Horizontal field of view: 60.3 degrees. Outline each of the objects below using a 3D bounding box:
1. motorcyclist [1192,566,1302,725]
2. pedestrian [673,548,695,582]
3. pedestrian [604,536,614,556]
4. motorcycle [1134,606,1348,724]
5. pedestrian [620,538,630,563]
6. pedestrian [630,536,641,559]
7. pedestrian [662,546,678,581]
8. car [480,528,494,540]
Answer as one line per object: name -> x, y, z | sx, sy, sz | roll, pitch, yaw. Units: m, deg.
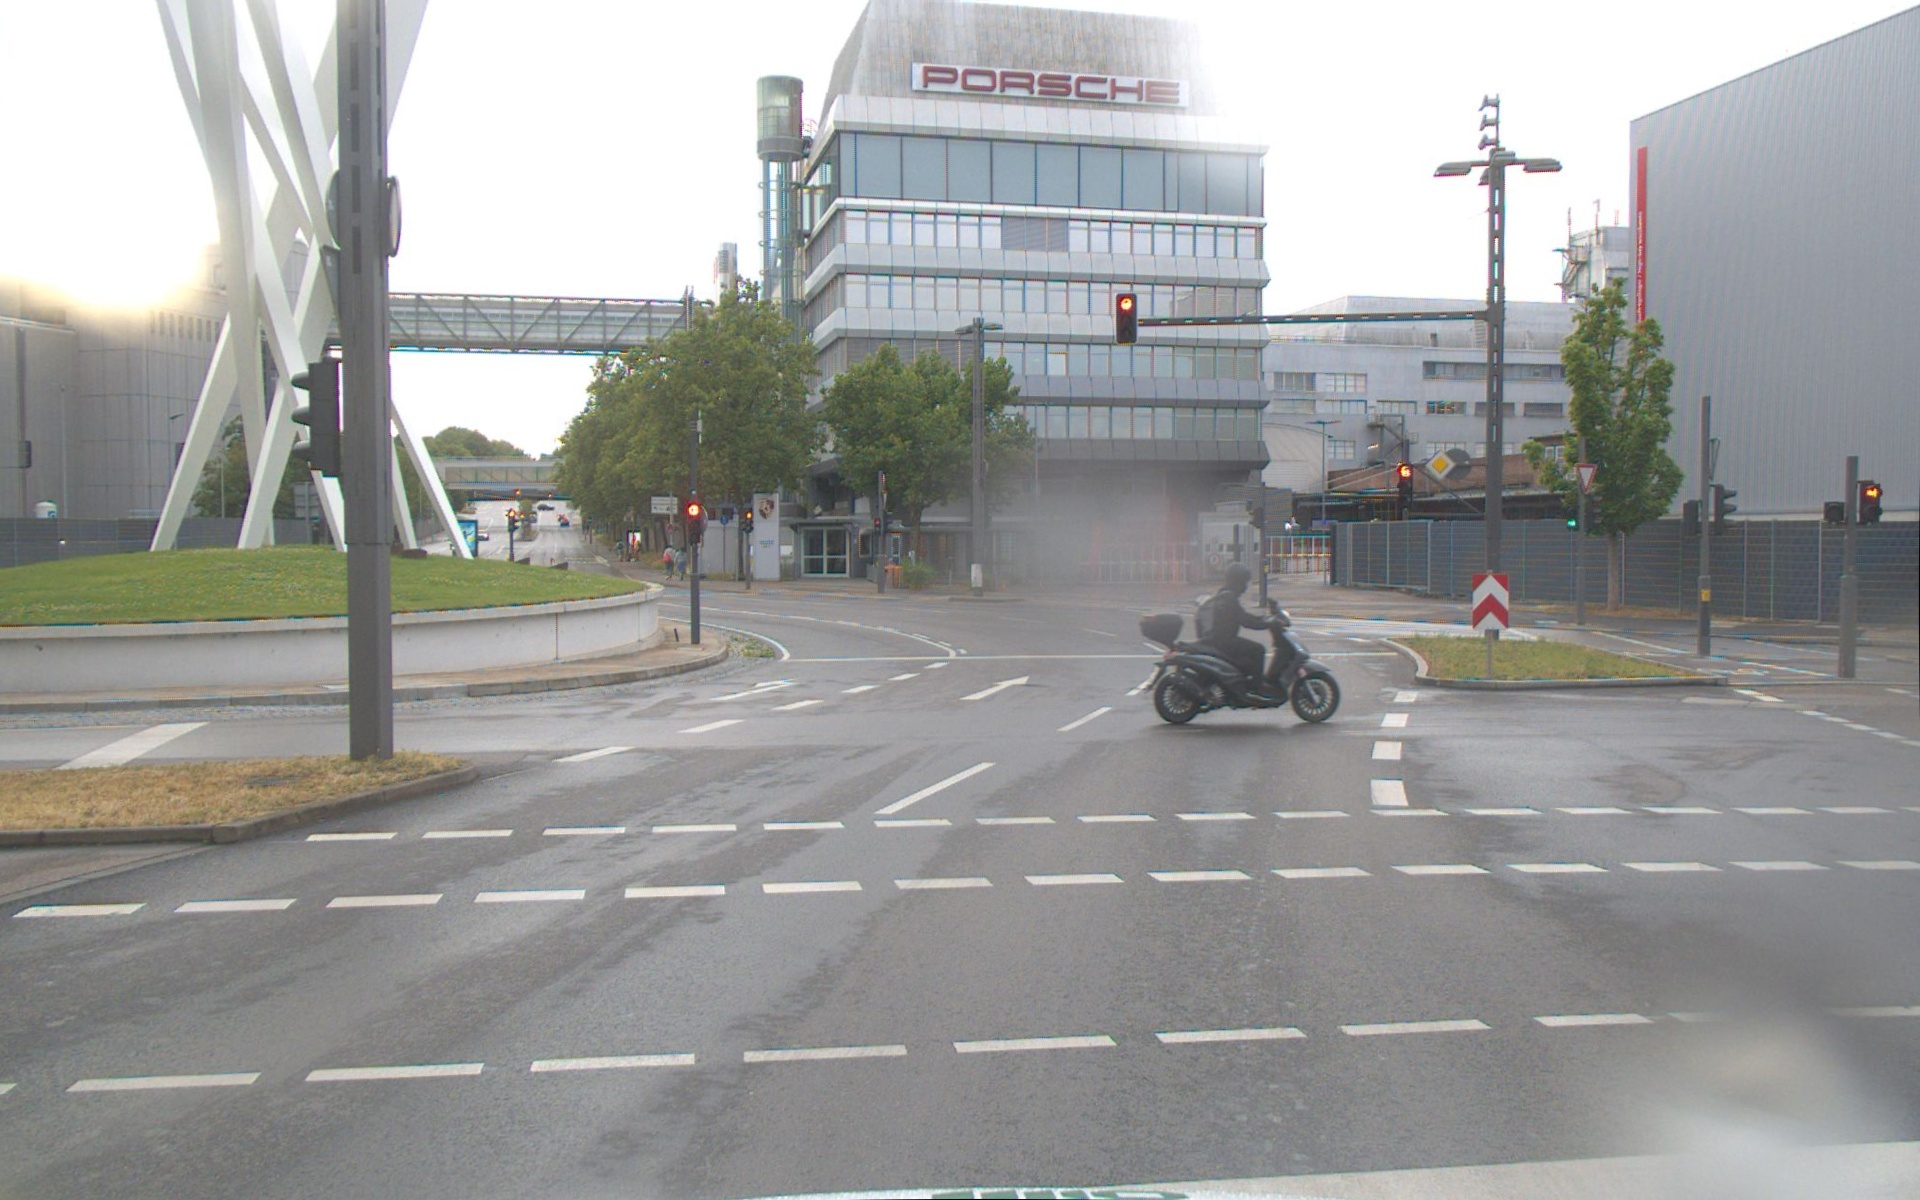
motorcyclist -> 3.043, 0.463, 17.593 | 1.012, 1.651, 0.670 | 0, 1, -6
pedestrian -> -12.656, -1.597, 75.909 | 0.820, 1.547, 0.835 | -1, 2, -24
pedestrian -> -35.127, -5.406, 165.485 | 0.749, 2.049, 0.693 | 0, 1, 3
motorcycle -> 2.992, 0.682, 17.627 | 2.216, 1.213, 0.450 | 0, 1, -7
pedestrian -> -24.838, -3.675, 122.644 | 0.699, 1.770, 0.757 | 1, -1, -14
pedestrian -> -25.500, -4.158, 129.960 | 0.744, 1.770, 0.712 | 1, -1, -10
pedestrian -> -13.505, -1.699, 76.946 | 0.696, 1.619, 0.839 | -1, 2, -10
car -> -67.015, -9.348, 234.149 | 1.854, 1.578, 4.488 | 0, 1, -17
